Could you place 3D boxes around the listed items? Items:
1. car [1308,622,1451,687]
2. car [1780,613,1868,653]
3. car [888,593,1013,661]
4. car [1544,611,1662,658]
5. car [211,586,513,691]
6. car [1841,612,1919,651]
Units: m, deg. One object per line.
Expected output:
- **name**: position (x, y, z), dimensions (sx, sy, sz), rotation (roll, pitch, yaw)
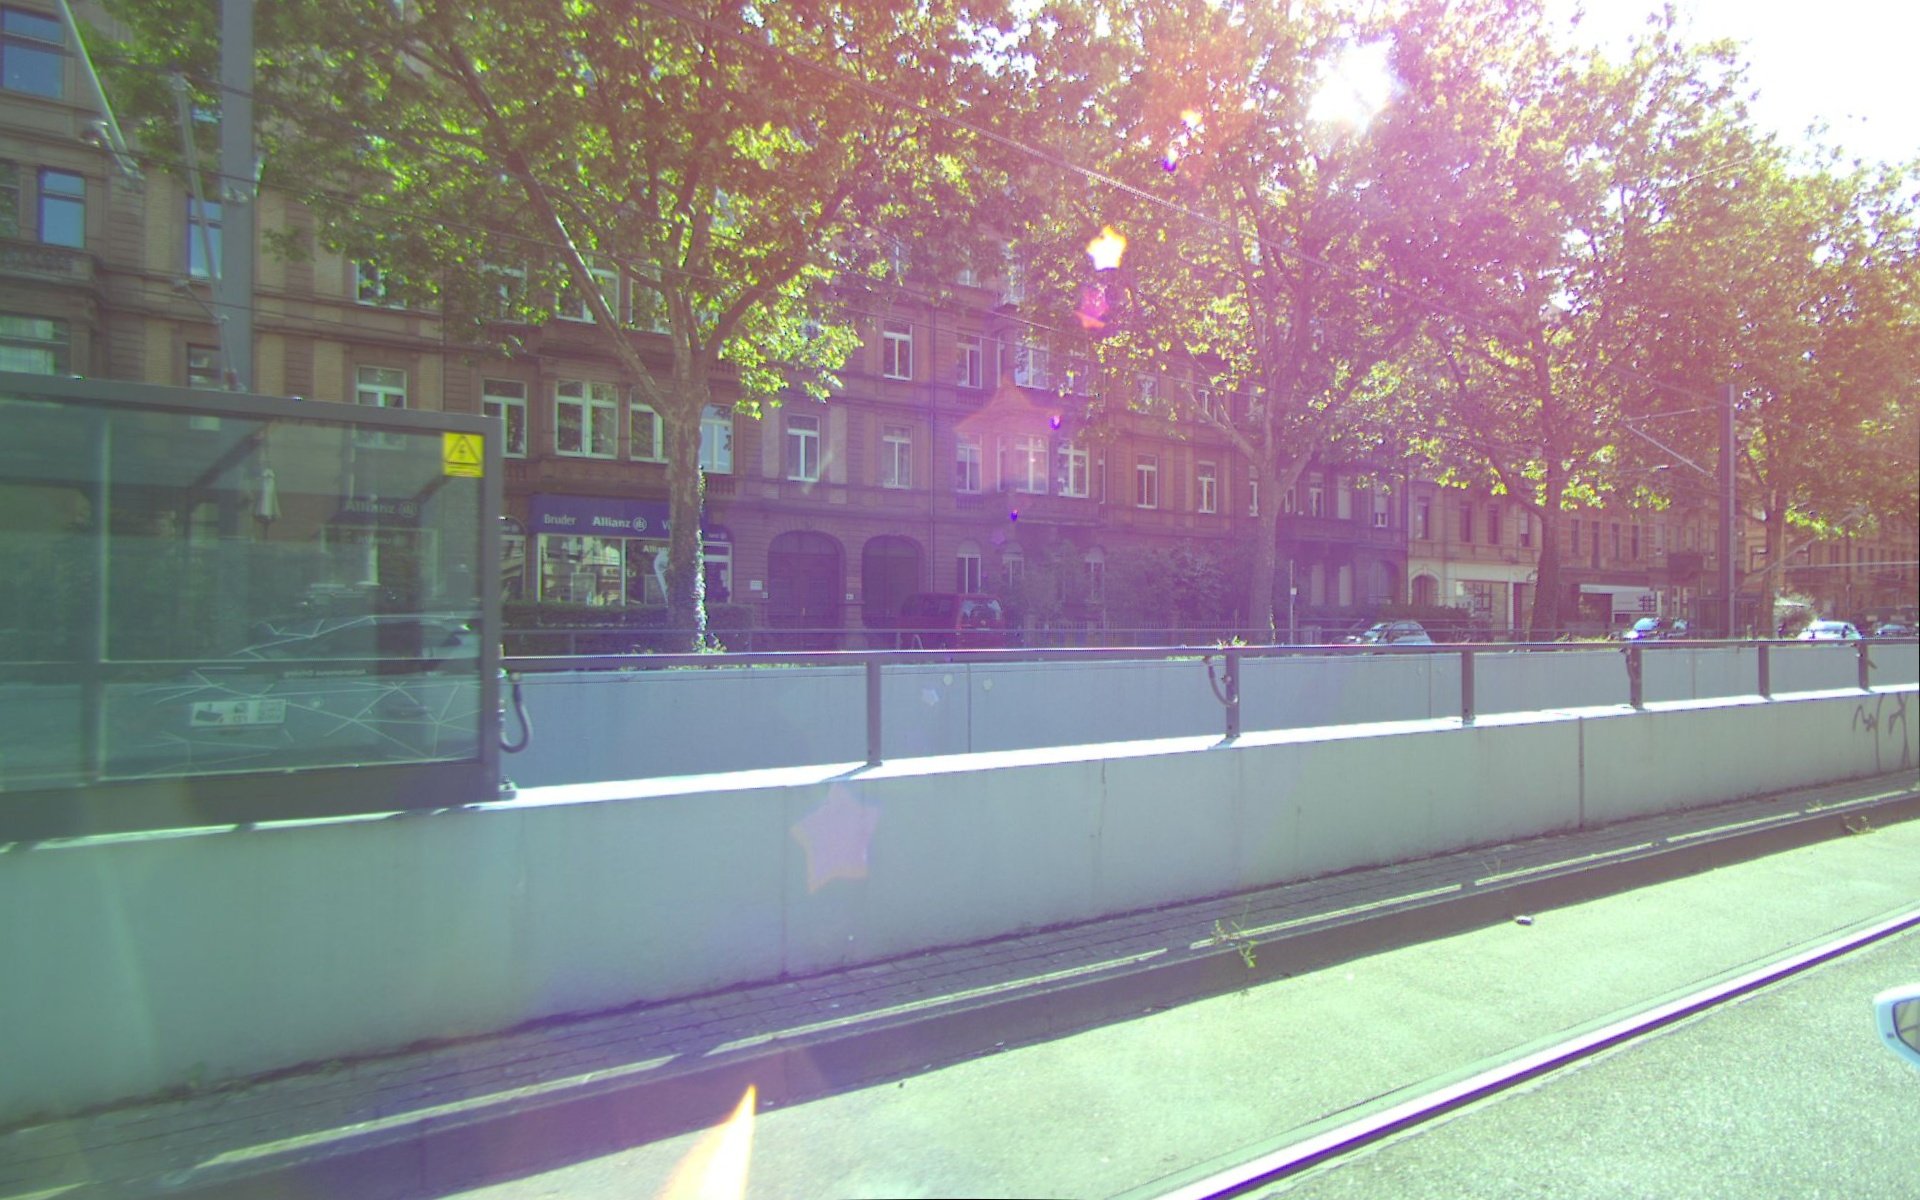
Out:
- **car**: position (12.083, 1.547, 28.943), dimensions (3.678, 1.713, 1.714), rotation (0, -2, -24)
- **car**: position (39.623, 1.496, 46.070), dimensions (3.953, 1.750, 1.830), rotation (1, -3, -31)
- **car**: position (-0.391, 0.809, 31.429), dimensions (1.977, 1.944, 4.379), rotation (1, -1, -31)
- **car**: position (23.498, 1.229, 36.699), dimensions (3.950, 1.658, 1.985), rotation (1, -1, -28)
- **car**: position (-9.402, 0.612, 16.077), dimensions (3.956, 1.501, 1.635), rotation (1, -3, -31)
- **car**: position (44.158, 1.500, 48.044), dimensions (3.953, 1.750, 1.830), rotation (1, -3, -31)
